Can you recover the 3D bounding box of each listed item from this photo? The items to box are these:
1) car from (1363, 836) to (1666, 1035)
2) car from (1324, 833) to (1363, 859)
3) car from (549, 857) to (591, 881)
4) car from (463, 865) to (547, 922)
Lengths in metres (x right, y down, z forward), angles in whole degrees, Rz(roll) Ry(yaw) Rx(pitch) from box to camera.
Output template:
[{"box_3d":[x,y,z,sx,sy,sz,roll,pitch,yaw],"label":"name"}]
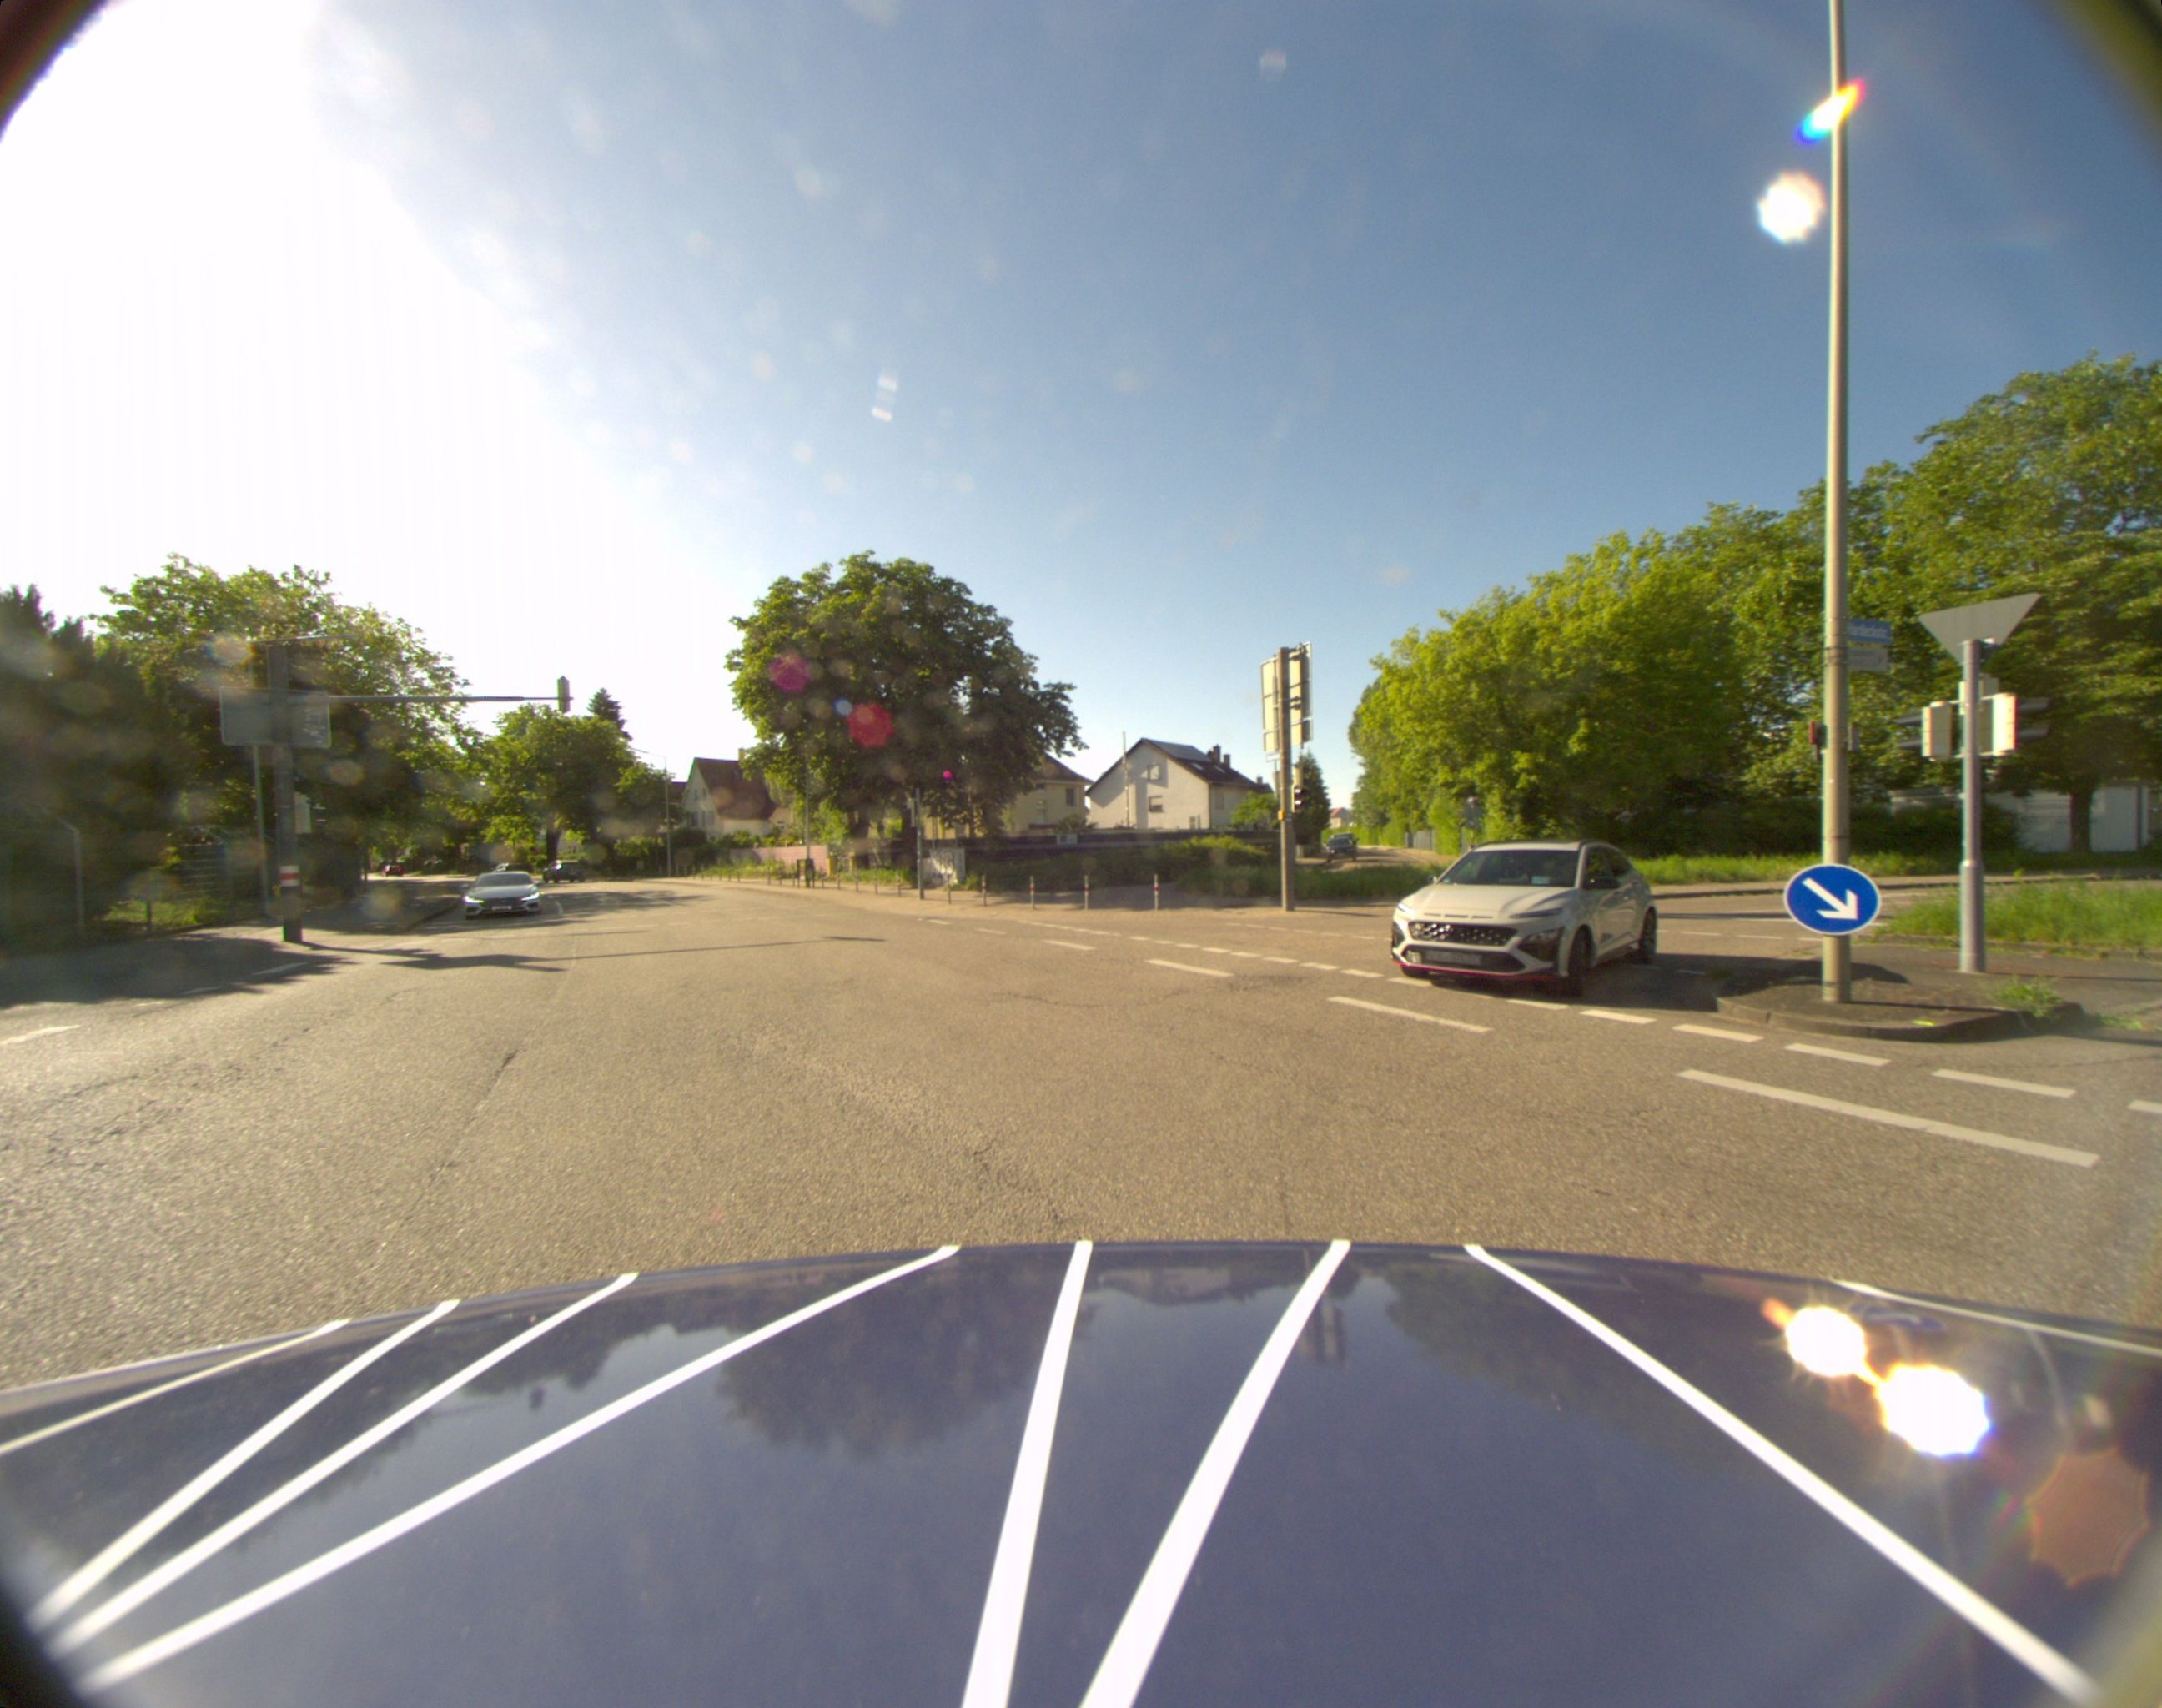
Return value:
[{"box_3d":[5.163,0.715,8.814,4.061,1.636,1.711,-4,3,-40],"label":"car"},{"box_3d":[17.097,-0.554,49.383,1.995,1.547,4.006,-2,1,24],"label":"car"},{"box_3d":[-36.809,1.043,54.661,1.866,1.625,4.245,-2,0,-43],"label":"car"},{"box_3d":[-18.270,1.177,24.265,1.813,1.523,4.503,-2,1,-34],"label":"car"}]
